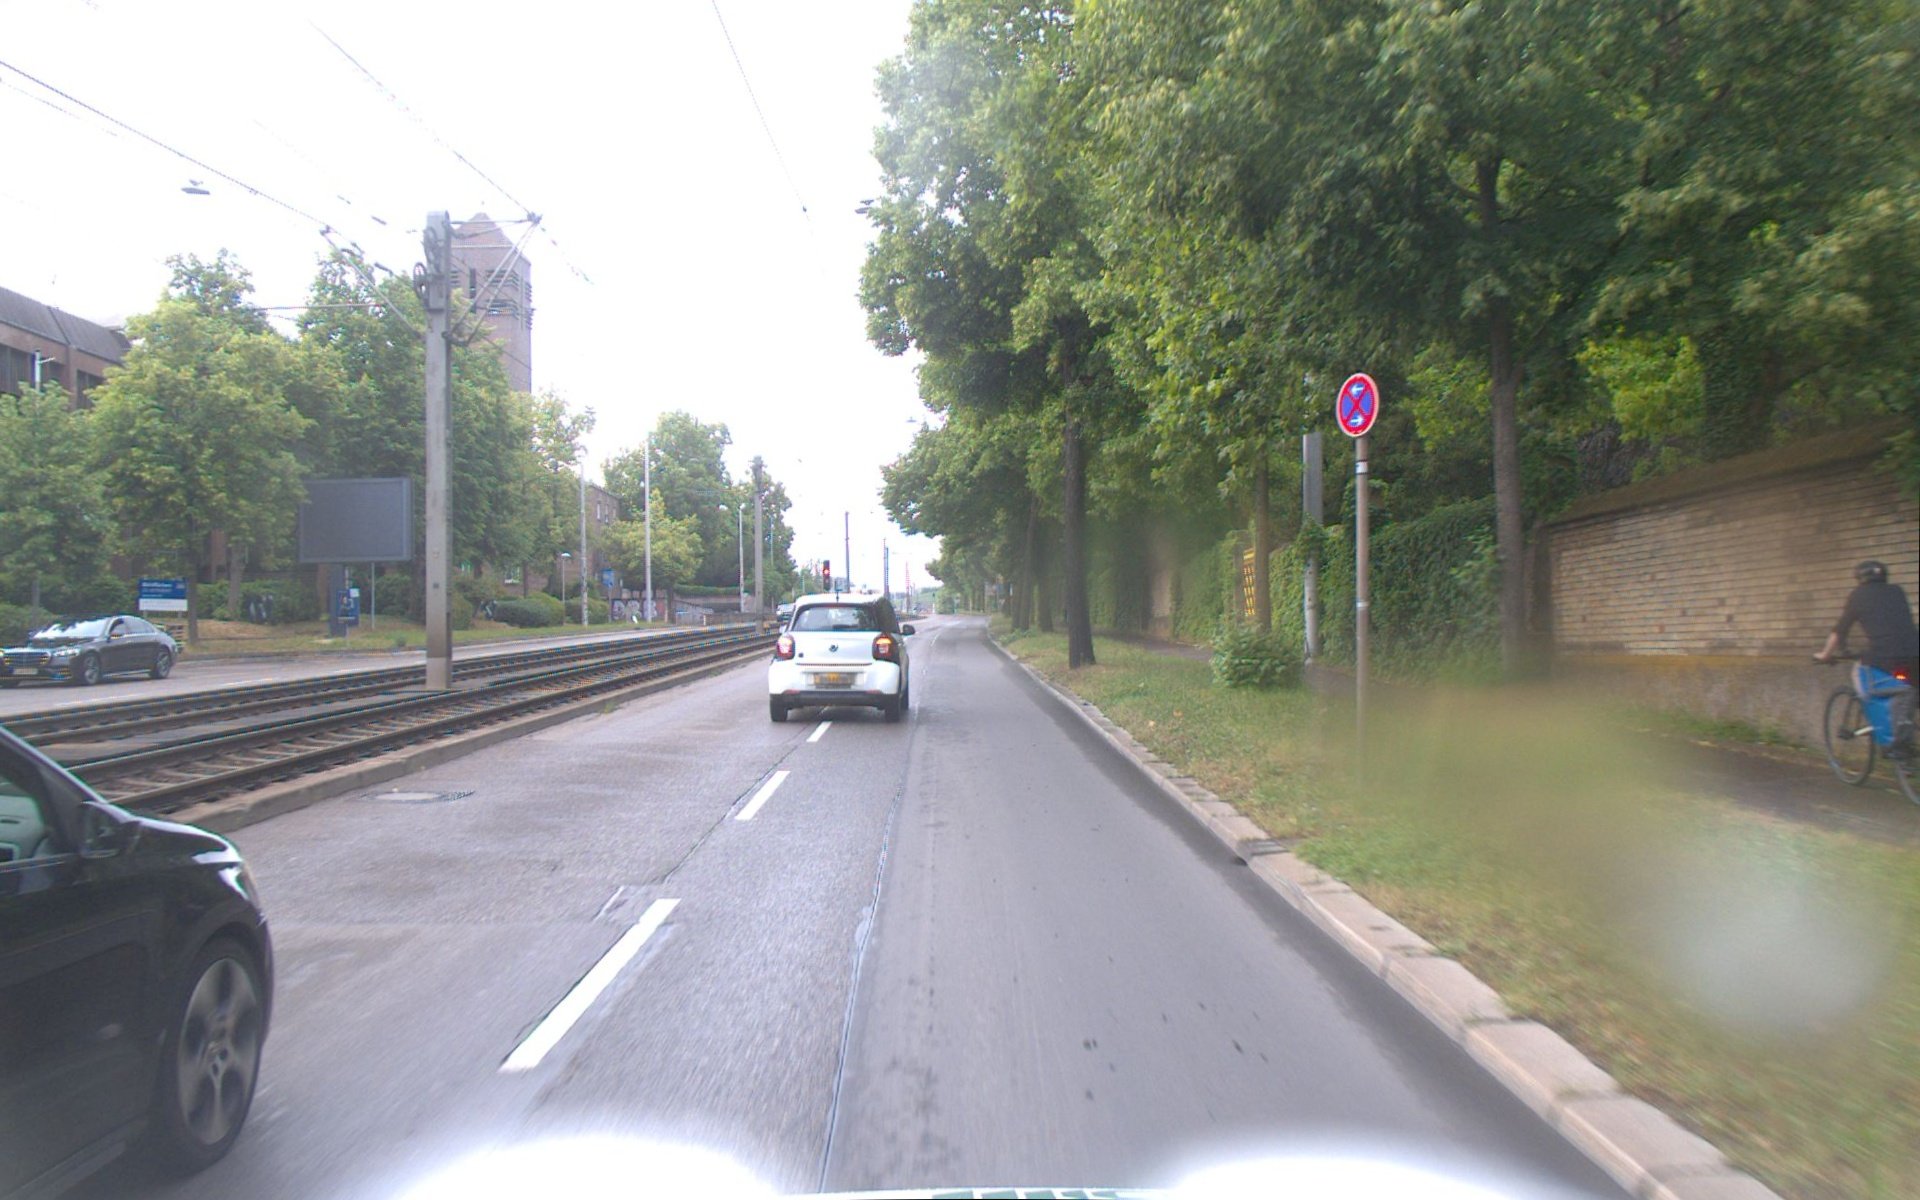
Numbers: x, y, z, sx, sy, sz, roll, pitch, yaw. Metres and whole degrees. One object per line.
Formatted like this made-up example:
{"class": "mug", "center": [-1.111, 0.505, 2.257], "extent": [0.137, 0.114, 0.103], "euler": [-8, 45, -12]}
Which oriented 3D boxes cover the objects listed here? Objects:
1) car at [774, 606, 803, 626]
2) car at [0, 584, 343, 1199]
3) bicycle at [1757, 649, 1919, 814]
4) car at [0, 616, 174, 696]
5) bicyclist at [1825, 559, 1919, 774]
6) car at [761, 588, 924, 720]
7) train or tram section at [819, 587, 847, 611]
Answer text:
{"class": "car", "center": [-15.675, 1.456, 151.469], "extent": [1.970, 1.685, 4.618], "euler": [-1, 0, 3]}
{"class": "car", "center": [-2.728, 0.745, 3.066], "extent": [1.758, 1.511, 3.963], "euler": [-1, 0, -2]}
{"class": "bicycle", "center": [6.362, 0.862, 11.473], "extent": [0.531, 0.964, 2.550], "euler": [-1, 0, 3]}
{"class": "car", "center": [-19.070, 1.164, 36.063], "extent": [1.758, 1.557, 4.620], "euler": [-1, 0, -2]}
{"class": "bicyclist", "center": [6.335, 0.437, 11.265], "extent": [0.524, 1.414, 0.666], "euler": [-1, 0, 2]}
{"class": "car", "center": [-1.444, 0.632, 21.557], "extent": [1.641, 1.557, 3.723], "euler": [1, 0, 3]}
{"class": "train or tram section", "center": [-19.233, -0.162, 250.600], "extent": [2.783, 3.668, 9.238], "euler": [1, 0, -13]}
